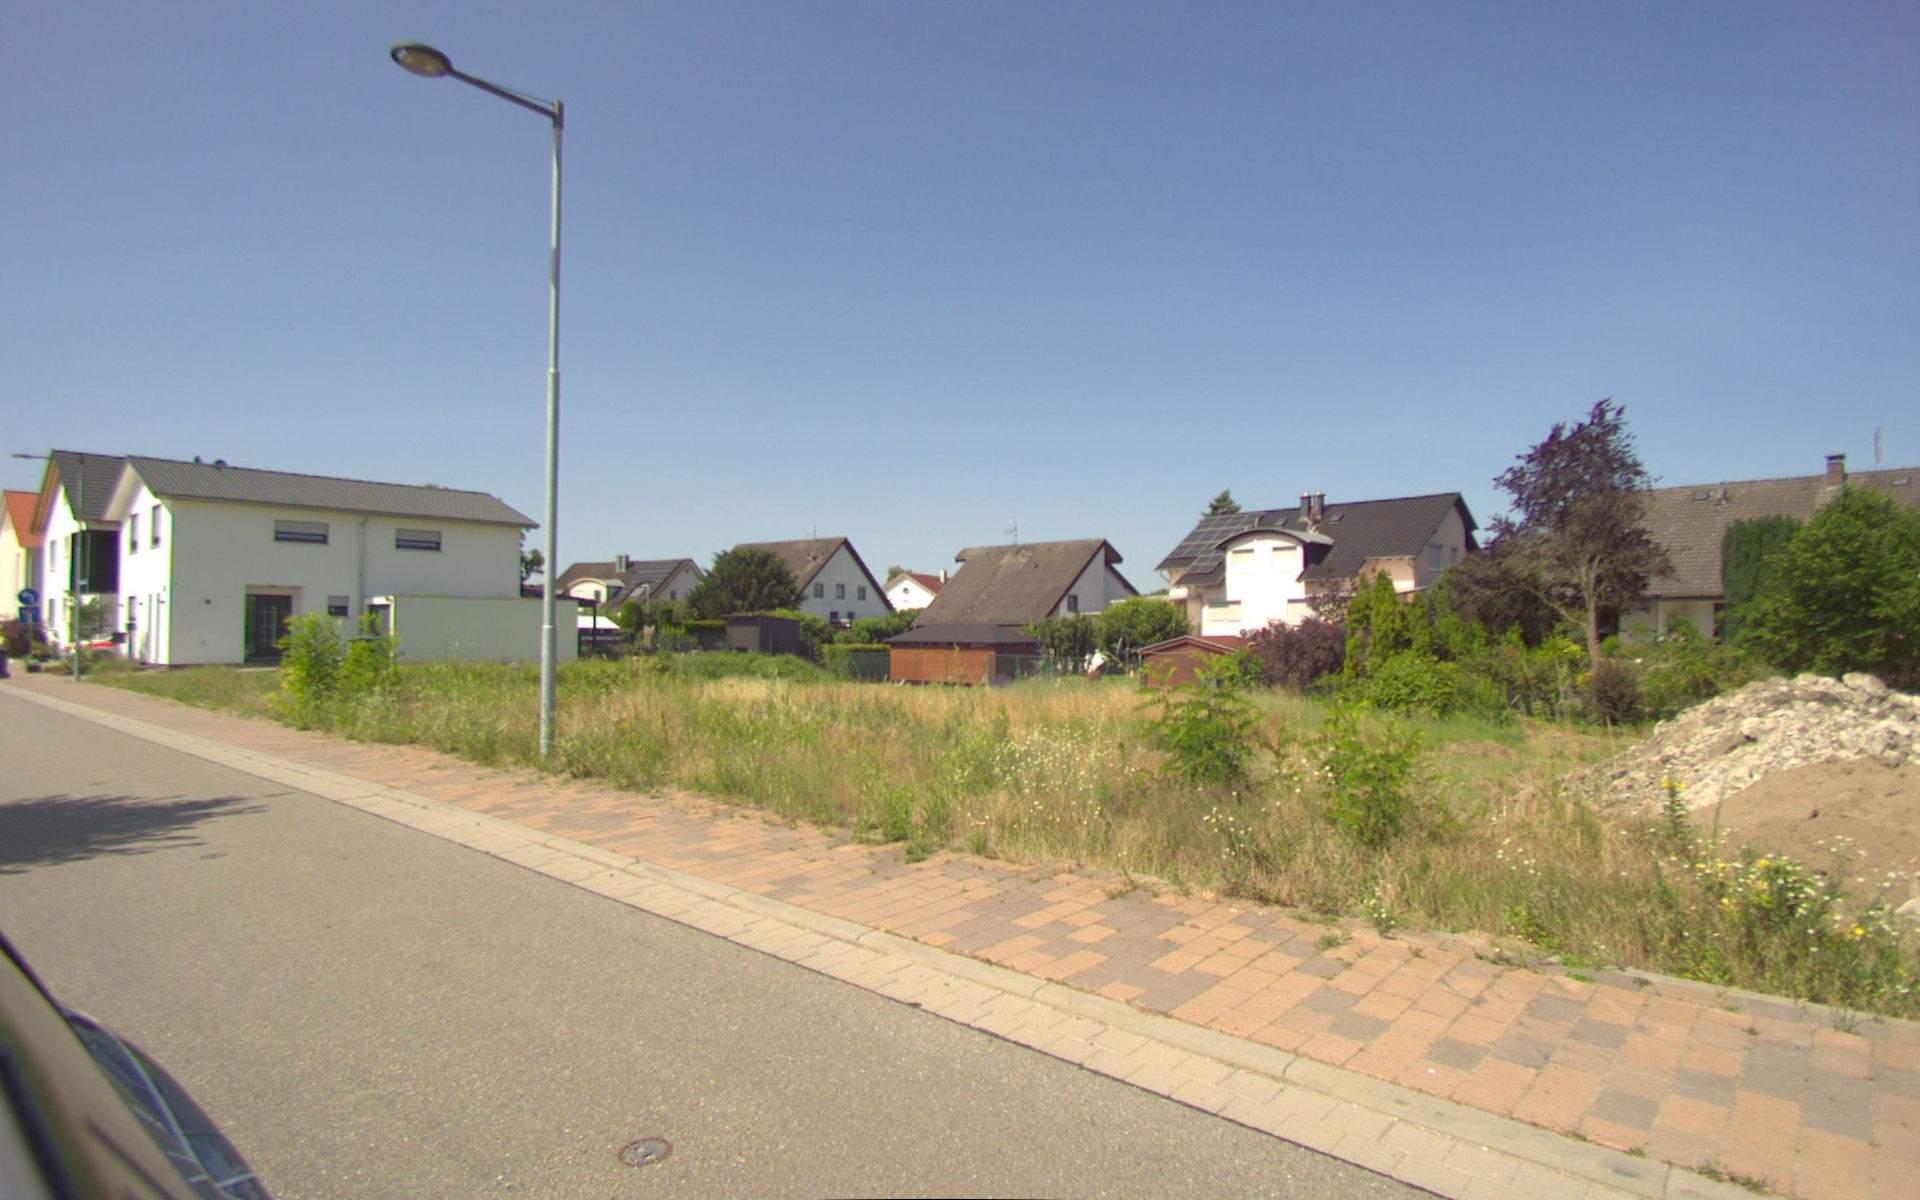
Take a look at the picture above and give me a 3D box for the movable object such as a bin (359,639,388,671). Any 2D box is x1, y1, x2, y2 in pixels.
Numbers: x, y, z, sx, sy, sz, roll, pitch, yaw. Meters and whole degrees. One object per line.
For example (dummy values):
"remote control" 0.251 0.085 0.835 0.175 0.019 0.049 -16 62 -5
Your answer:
"movable object such as a bin" -20.620 1.919 35.575 0.808 1.107 0.662 -2 -4 43

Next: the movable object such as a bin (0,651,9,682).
"movable object such as a bin" -30.245 2.092 31.682 0.499 0.955 0.617 0 -2 37

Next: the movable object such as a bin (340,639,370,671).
"movable object such as a bin" -20.934 1.902 35.025 0.784 1.107 0.653 -2 -4 41

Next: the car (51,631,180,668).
"car" -37.639 2.189 45.183 1.742 1.574 4.114 -2 -3 36

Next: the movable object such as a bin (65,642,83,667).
"movable object such as a bin" -40.717 2.503 46.495 0.601 1.100 0.494 -3 -4 37

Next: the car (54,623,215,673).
"car" -33.170 1.918 40.777 1.936 1.889 4.689 -1 -3 39
